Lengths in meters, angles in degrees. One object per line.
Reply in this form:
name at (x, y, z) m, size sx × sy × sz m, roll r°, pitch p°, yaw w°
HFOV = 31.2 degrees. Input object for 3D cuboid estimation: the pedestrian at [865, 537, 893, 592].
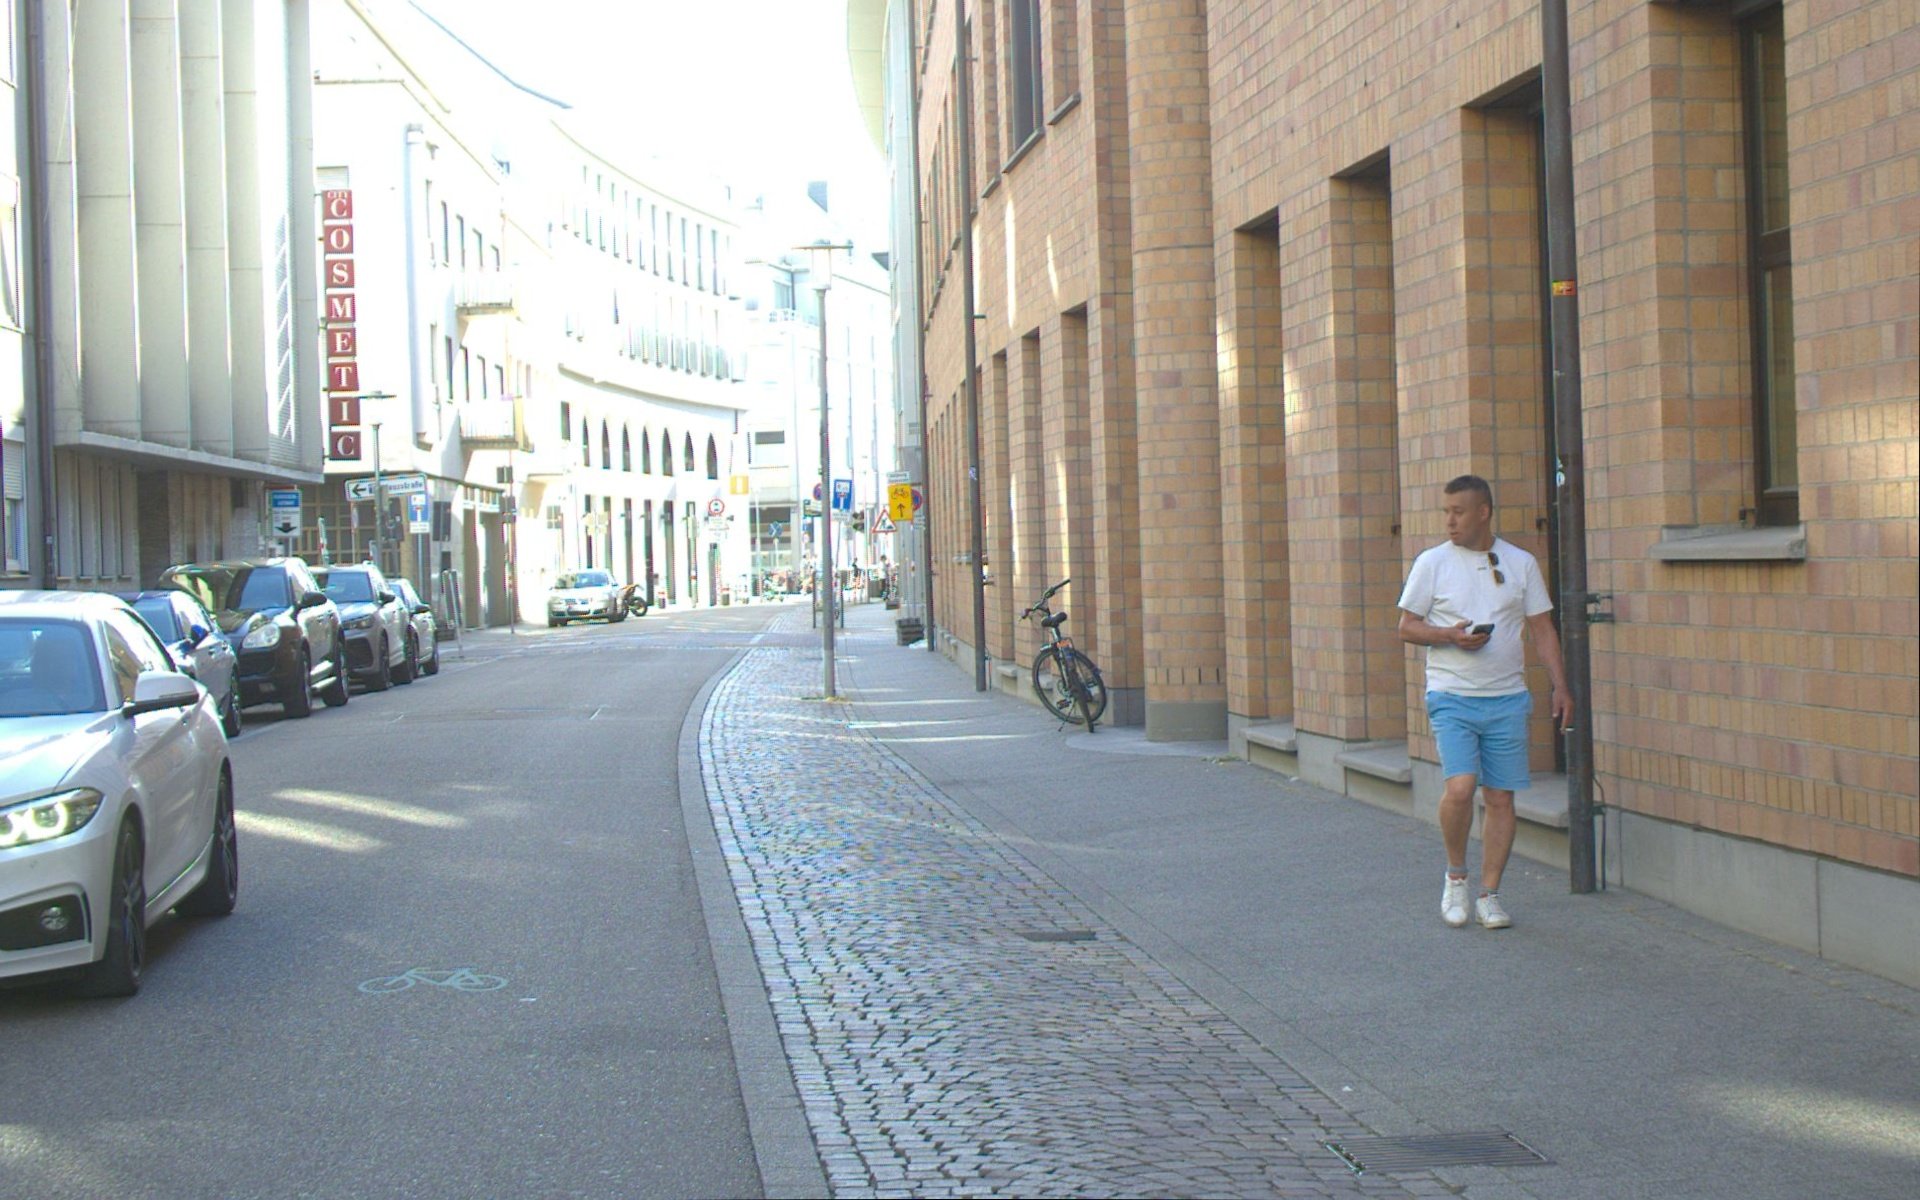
pedestrian at (-2.797, -1.216, 118.379) m, size 0.659 × 1.862 × 0.761 m, roll 0°, pitch 0°, yaw -32°

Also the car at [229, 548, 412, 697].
car at (-8.139, 0.235, 44.099) m, size 1.889 × 1.736 × 4.391 m, roll -2°, pitch 1°, yaw -6°

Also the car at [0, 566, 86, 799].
car at (-7.499, 0.579, 24.160) m, size 1.889 × 1.525 × 4.730 m, roll -2°, pitch 1°, yaw -6°

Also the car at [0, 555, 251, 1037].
car at (-3.794, 0.626, 12.983) m, size 1.714 × 1.512 × 4.161 m, roll -2°, pitch 1°, yaw -6°

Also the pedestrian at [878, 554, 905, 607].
pedestrian at (-2.451, -0.697, 123.427) m, size 0.659 × 1.862 × 0.786 m, roll 0°, pitch 0°, yaw -32°

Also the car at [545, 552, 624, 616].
car at (-9.773, -0.428, 89.687) m, size 1.736 × 1.600 × 3.533 m, roll -1°, pitch 1°, yaw -2°

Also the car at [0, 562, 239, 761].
car at (-7.499, 0.482, 29.902) m, size 1.889 × 1.525 × 4.341 m, roll -2°, pitch 1°, yaw -6°

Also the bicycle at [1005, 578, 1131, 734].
bicycle at (0.823, 0.413, 26.740) m, size 0.549 × 1.099 × 1.983 m, roll -5°, pitch 2°, yaw -8°

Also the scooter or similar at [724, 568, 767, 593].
scooter or similar at (-8.237, -0.767, 132.160) m, size 0.526 × 0.925 × 2.224 m, roll 0°, pitch 1°, yaw 28°

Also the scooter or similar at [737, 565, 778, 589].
scooter or similar at (-7.995, -0.901, 135.906) m, size 0.526 × 0.925 × 2.224 m, roll 0°, pitch 1°, yaw 28°

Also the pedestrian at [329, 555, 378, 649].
pedestrian at (-10.551, 0.036, 59.823) m, size 0.645 × 1.620 × 0.457 m, roll -2°, pitch 1°, yaw -44°

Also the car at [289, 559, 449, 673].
car at (-8.438, 0.194, 49.343) m, size 1.648 × 1.455 × 3.999 m, roll -4°, pitch 1°, yaw -2°

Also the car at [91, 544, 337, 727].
car at (-7.548, 0.300, 35.181) m, size 1.889 × 1.670 × 4.554 m, roll -2°, pitch 1°, yaw -6°

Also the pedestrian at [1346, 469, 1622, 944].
pedestrian at (1.989, 0.385, 13.141) m, size 0.760 × 1.710 × 0.822 m, roll -4°, pitch 1°, yaw -6°

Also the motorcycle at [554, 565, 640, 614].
motorcycle at (-10.649, -0.315, 100.807) m, size 2.390 × 1.312 × 0.862 m, roll -3°, pitch 1°, yaw -2°
